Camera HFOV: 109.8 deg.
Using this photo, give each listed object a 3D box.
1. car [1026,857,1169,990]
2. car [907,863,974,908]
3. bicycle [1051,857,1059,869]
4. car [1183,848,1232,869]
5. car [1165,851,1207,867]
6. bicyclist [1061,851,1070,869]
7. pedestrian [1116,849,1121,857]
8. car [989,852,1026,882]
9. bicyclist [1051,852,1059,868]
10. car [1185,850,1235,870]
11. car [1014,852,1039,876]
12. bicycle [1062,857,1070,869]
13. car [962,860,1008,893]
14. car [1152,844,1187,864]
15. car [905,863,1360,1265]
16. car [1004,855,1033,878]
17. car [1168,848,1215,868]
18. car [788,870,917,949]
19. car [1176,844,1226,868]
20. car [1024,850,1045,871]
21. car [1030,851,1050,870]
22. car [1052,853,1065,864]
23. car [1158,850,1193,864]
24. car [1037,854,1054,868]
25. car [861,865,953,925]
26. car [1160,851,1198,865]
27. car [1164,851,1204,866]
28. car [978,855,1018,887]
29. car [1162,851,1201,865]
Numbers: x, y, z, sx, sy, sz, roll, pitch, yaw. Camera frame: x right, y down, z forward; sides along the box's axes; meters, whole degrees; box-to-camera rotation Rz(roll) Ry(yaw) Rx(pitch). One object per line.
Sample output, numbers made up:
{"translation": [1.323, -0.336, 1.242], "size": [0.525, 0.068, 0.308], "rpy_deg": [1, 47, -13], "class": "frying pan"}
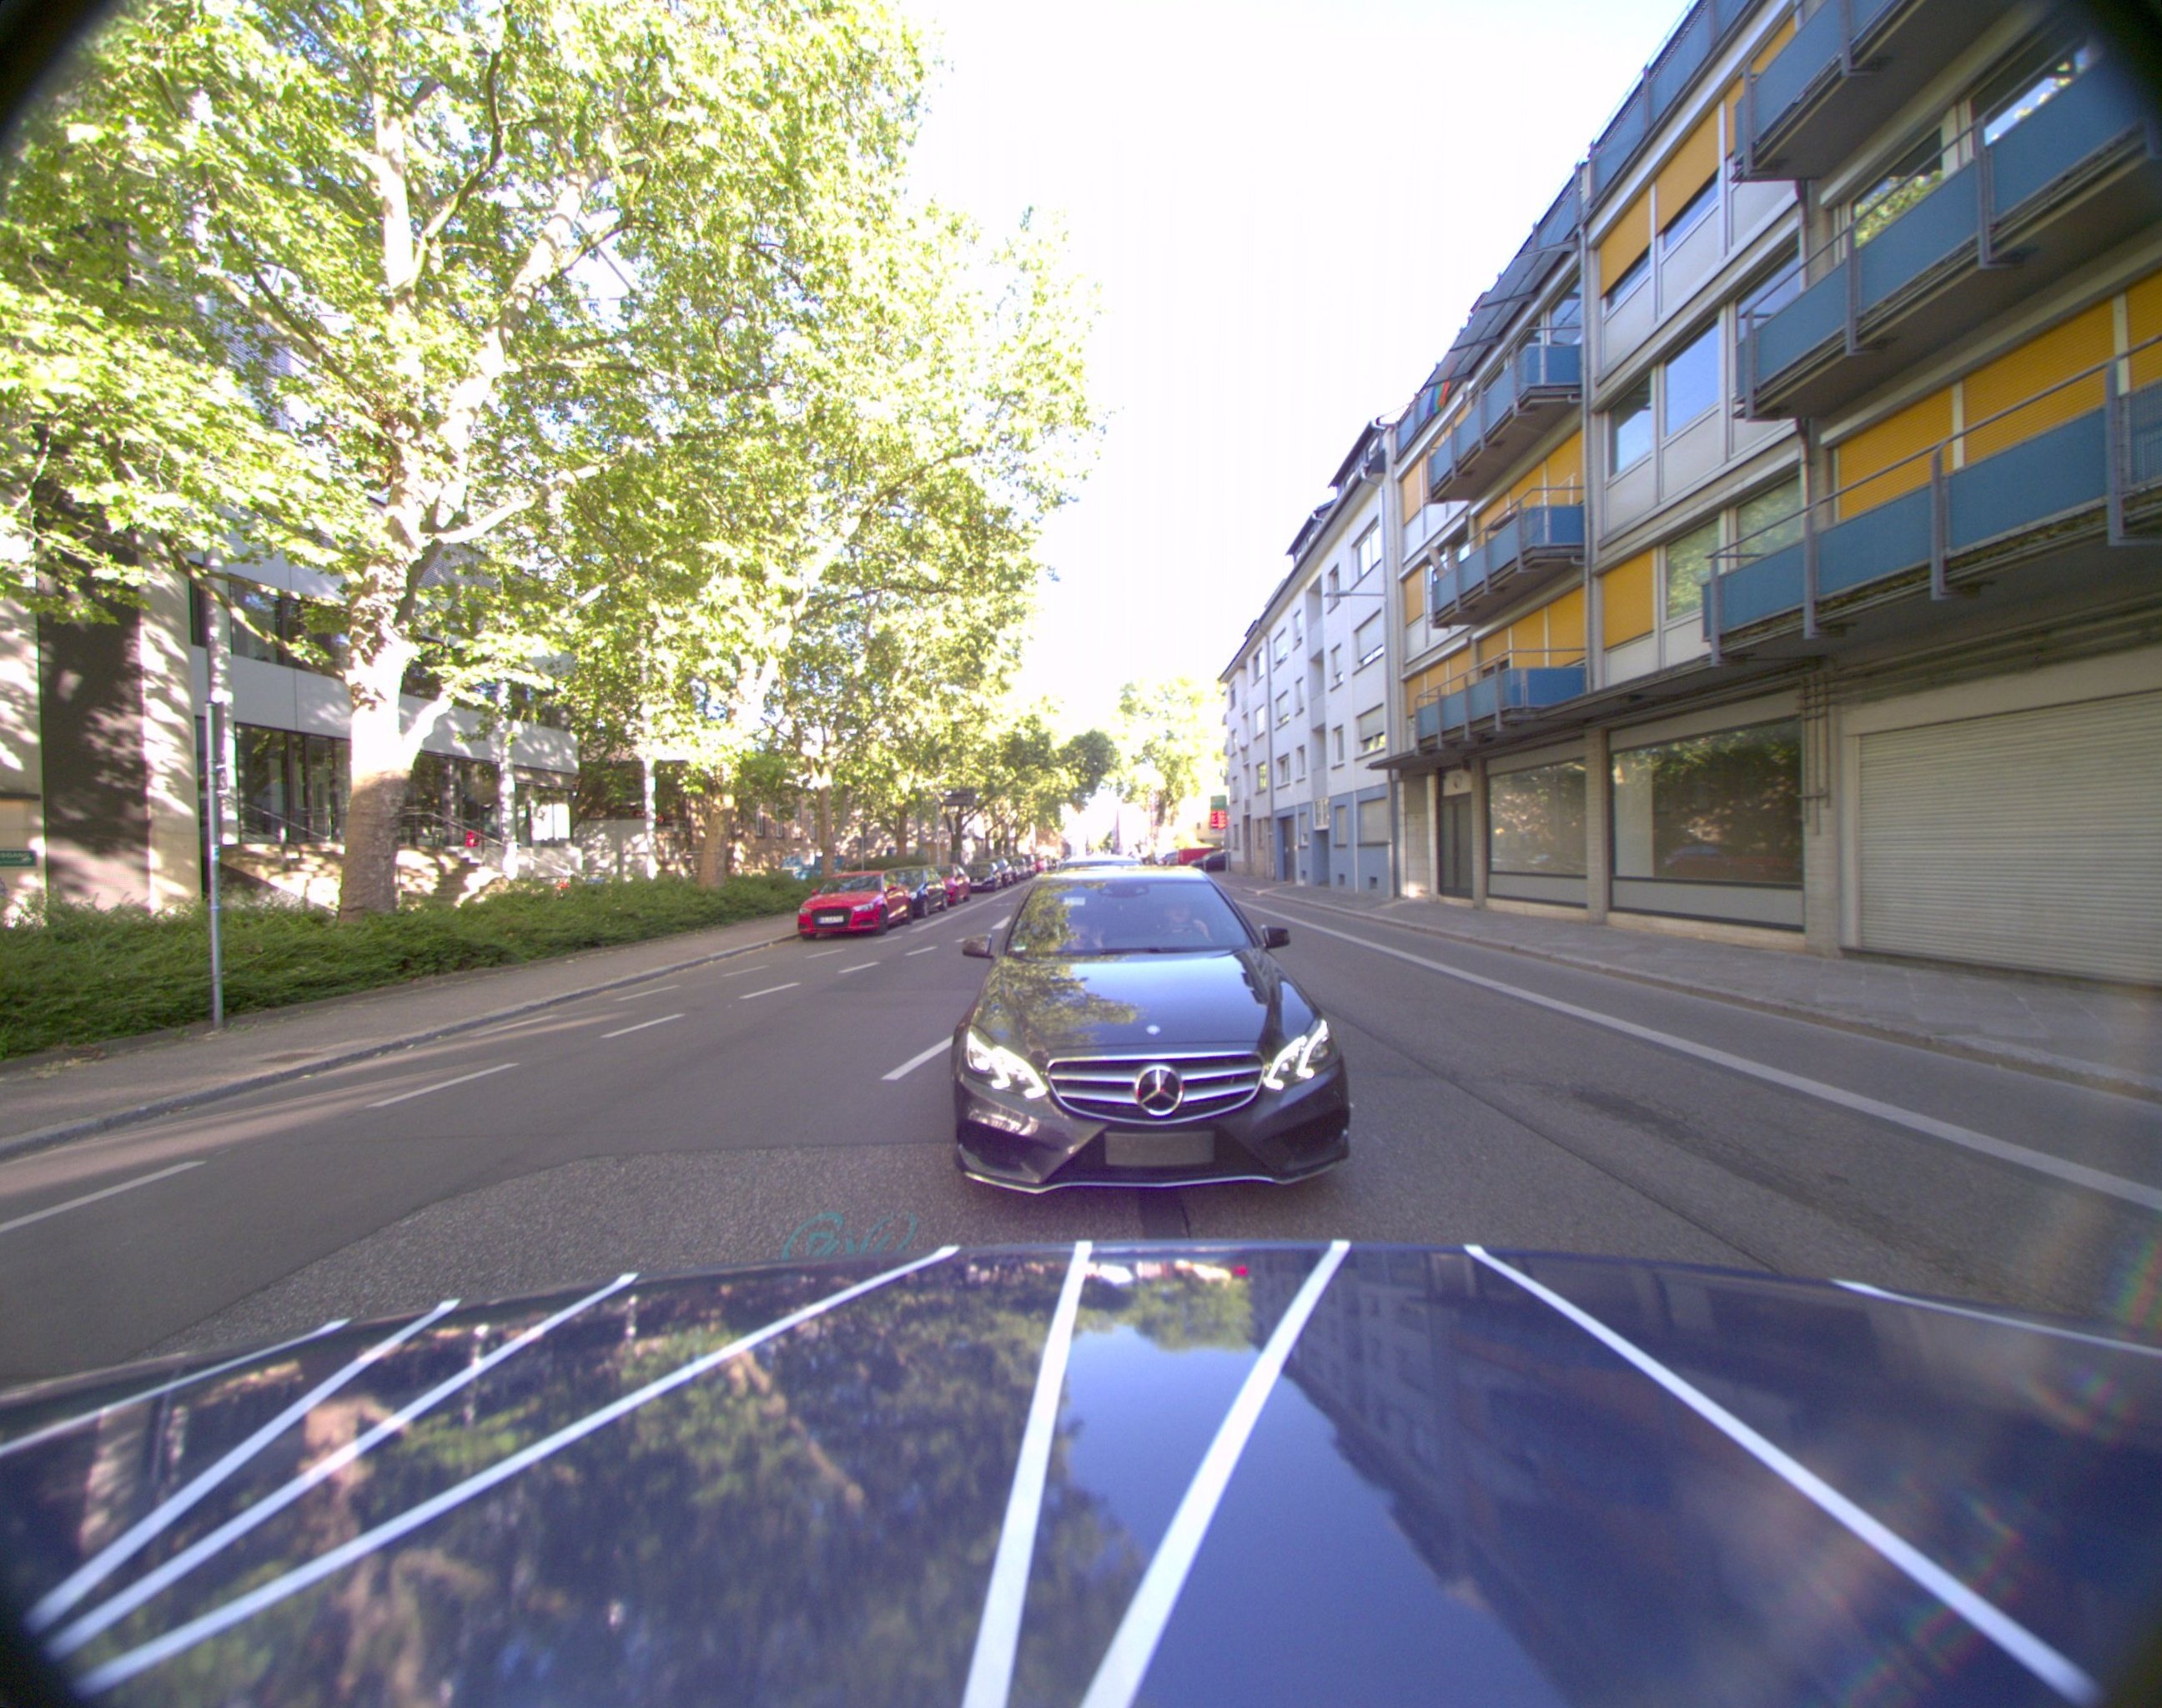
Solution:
{"translation": [0.202, 0.881, 11.661], "size": [1.732, 1.538, 4.293], "rpy_deg": [-2, 1, 0], "class": "car"}
{"translation": [-5.011, 1.094, 27.606], "size": [1.666, 1.426, 3.781], "rpy_deg": [-2, 0, 0], "class": "car"}
{"translation": [-2.596, 0.905, 76.540], "size": [0.667, 1.093, 1.814], "rpy_deg": [-2, 1, 0], "class": "bicycle"}
{"translation": [10.128, 0.361, 61.137], "size": [3.668, 1.501, 1.602], "rpy_deg": [-2, 1, 2], "class": "car"}
{"translation": [10.373, 0.456, 74.967], "size": [3.905, 1.366, 1.594], "rpy_deg": [-2, 1, 2], "class": "car"}
{"translation": [-1.542, 0.587, 76.199], "size": [0.756, 1.714, 0.768], "rpy_deg": [-2, 1, -1], "class": "bicyclist"}
{"translation": [9.778, -0.227, 199.607], "size": [0.882, 2.108, 0.822], "rpy_deg": [-1, 1, 32], "class": "pedestrian"}
{"translation": [-4.595, 0.772, 48.192], "size": [1.819, 1.758, 4.431], "rpy_deg": [-2, 0, 0], "class": "car"}
{"translation": [-2.644, 0.597, 76.520], "size": [0.756, 1.512, 0.768], "rpy_deg": [-2, 1, -1], "class": "bicyclist"}
{"translation": [9.959, 0.461, 58.732], "size": [3.598, 1.401, 1.534], "rpy_deg": [-2, 0, 2], "class": "car"}
{"translation": [-4.218, 0.754, 59.372], "size": [1.663, 1.704, 3.836], "rpy_deg": [-2, 0, 0], "class": "car"}
{"translation": [-1.502, 0.923, 76.256], "size": [0.667, 1.093, 1.814], "rpy_deg": [-2, 1, 0], "class": "bicycle"}
{"translation": [-4.667, 1.048, 37.407], "size": [1.686, 1.443, 4.000], "rpy_deg": [-2, 0, 0], "class": "car"}
{"translation": [10.402, 0.030, 89.310], "size": [3.905, 2.164, 1.725], "rpy_deg": [-2, 1, 2], "class": "car"}
{"translation": [0.210, 0.896, 5.285], "size": [1.828, 1.495, 4.293], "rpy_deg": [-2, 1, 0], "class": "car"}
{"translation": [-4.426, 0.876, 54.515], "size": [1.686, 1.552, 3.868], "rpy_deg": [-2, 0, 0], "class": "car"}
{"translation": [9.715, 0.335, 66.776], "size": [3.905, 1.577, 1.603], "rpy_deg": [-2, 1, 2], "class": "car"}
{"translation": [-5.134, 1.189, 17.663], "size": [1.724, 1.412, 4.030], "rpy_deg": [-4, 0, -1], "class": "car"}
{"translation": [10.074, 0.170, 63.981], "size": [3.905, 1.895, 1.749], "rpy_deg": [-2, 1, 2], "class": "car"}
{"translation": [-4.252, 0.591, 70.229], "size": [1.646, 1.839, 3.836], "rpy_deg": [-2, 0, 0], "class": "car"}
{"translation": [-4.098, 0.637, 76.020], "size": [1.686, 1.749, 3.836], "rpy_deg": [-2, 0, 0], "class": "car"}
{"translation": [-3.126, 0.652, 106.831], "size": [1.686, 1.475, 3.836], "rpy_deg": [-2, 0, 0], "class": "car"}
{"translation": [10.542, 0.338, 84.817], "size": [3.782, 1.432, 1.539], "rpy_deg": [-2, 1, 2], "class": "car"}
{"translation": [-4.051, 0.747, 87.065], "size": [1.639, 1.493, 3.752], "rpy_deg": [-2, 0, 0], "class": "car"}
{"translation": [-5.015, 1.128, 22.421], "size": [1.686, 1.458, 4.000], "rpy_deg": [-3, 0, 0], "class": "car"}
{"translation": [10.530, 0.405, 82.132], "size": [3.905, 1.325, 1.525], "rpy_deg": [-2, 1, 2], "class": "car"}
{"translation": [10.404, 0.433, 76.989], "size": [3.905, 1.366, 1.594], "rpy_deg": [-2, 1, 2], "class": "car"}
{"translation": [-4.539, 0.908, 42.066], "size": [1.686, 1.610, 3.836], "rpy_deg": [-2, 0, 0], "class": "car"}
{"translation": [10.521, 0.432, 79.744], "size": [3.905, 1.325, 1.525], "rpy_deg": [-2, 1, 2], "class": "car"}
